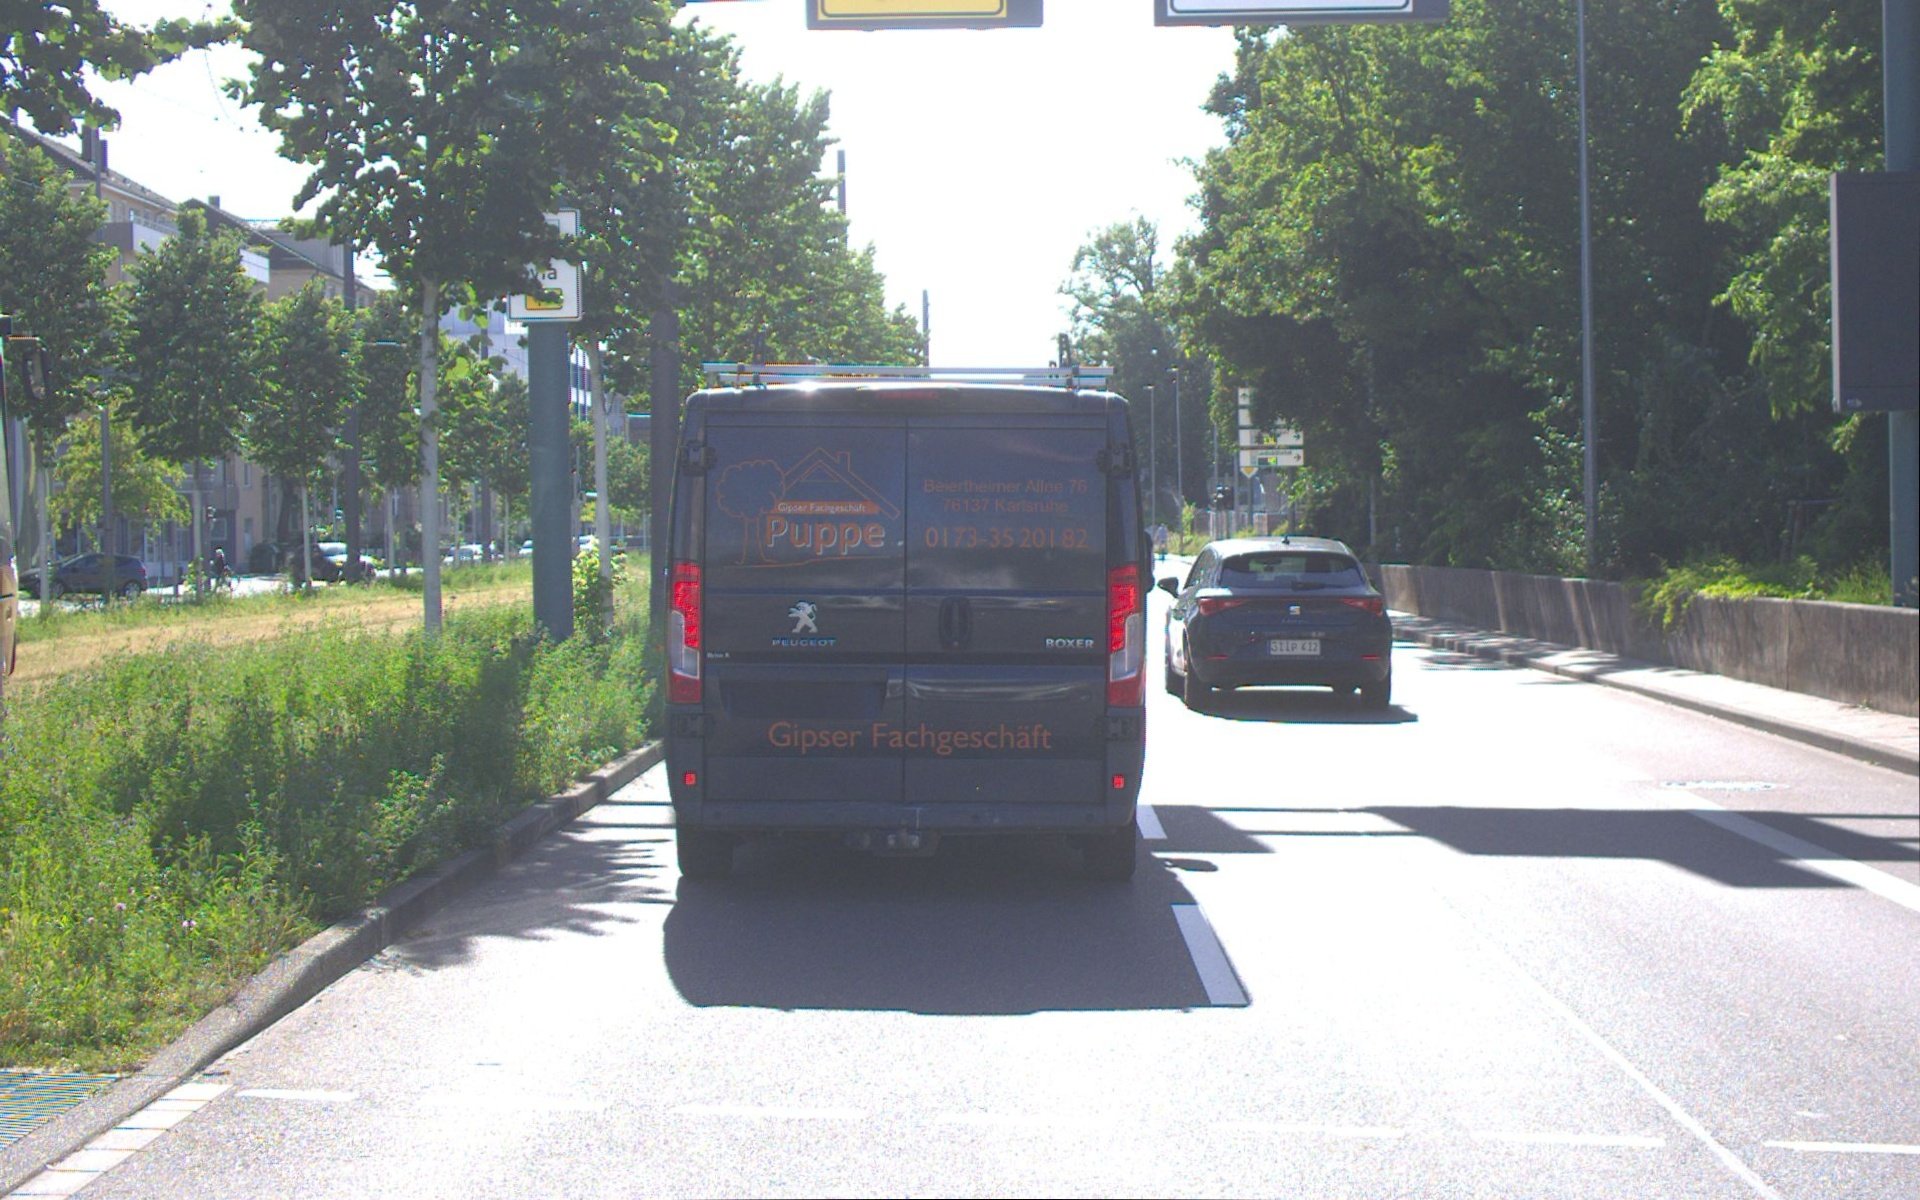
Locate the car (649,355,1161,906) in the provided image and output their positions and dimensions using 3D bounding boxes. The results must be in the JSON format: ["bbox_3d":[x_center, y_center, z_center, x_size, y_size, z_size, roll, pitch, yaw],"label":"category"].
[{"bbox_3d":[-0.223,0.090,16.066,2.082,2.241,4.000,0,1,0],"label":"car"}]

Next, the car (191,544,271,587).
[{"bbox_3d":[-26.835,-1.298,126.669,1.993,1.546,4.000,0,1,2],"label":"car"}]

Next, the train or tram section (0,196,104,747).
[{"bbox_3d":[-7.568,-0.790,19.322,1.994,3.656,11.683,0,1,3],"label":"train or tram section"}]

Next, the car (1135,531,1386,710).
[{"bbox_3d":[2.573,0.133,30.242,1.763,1.457,4.000,0,1,-1],"label":"car"}]
